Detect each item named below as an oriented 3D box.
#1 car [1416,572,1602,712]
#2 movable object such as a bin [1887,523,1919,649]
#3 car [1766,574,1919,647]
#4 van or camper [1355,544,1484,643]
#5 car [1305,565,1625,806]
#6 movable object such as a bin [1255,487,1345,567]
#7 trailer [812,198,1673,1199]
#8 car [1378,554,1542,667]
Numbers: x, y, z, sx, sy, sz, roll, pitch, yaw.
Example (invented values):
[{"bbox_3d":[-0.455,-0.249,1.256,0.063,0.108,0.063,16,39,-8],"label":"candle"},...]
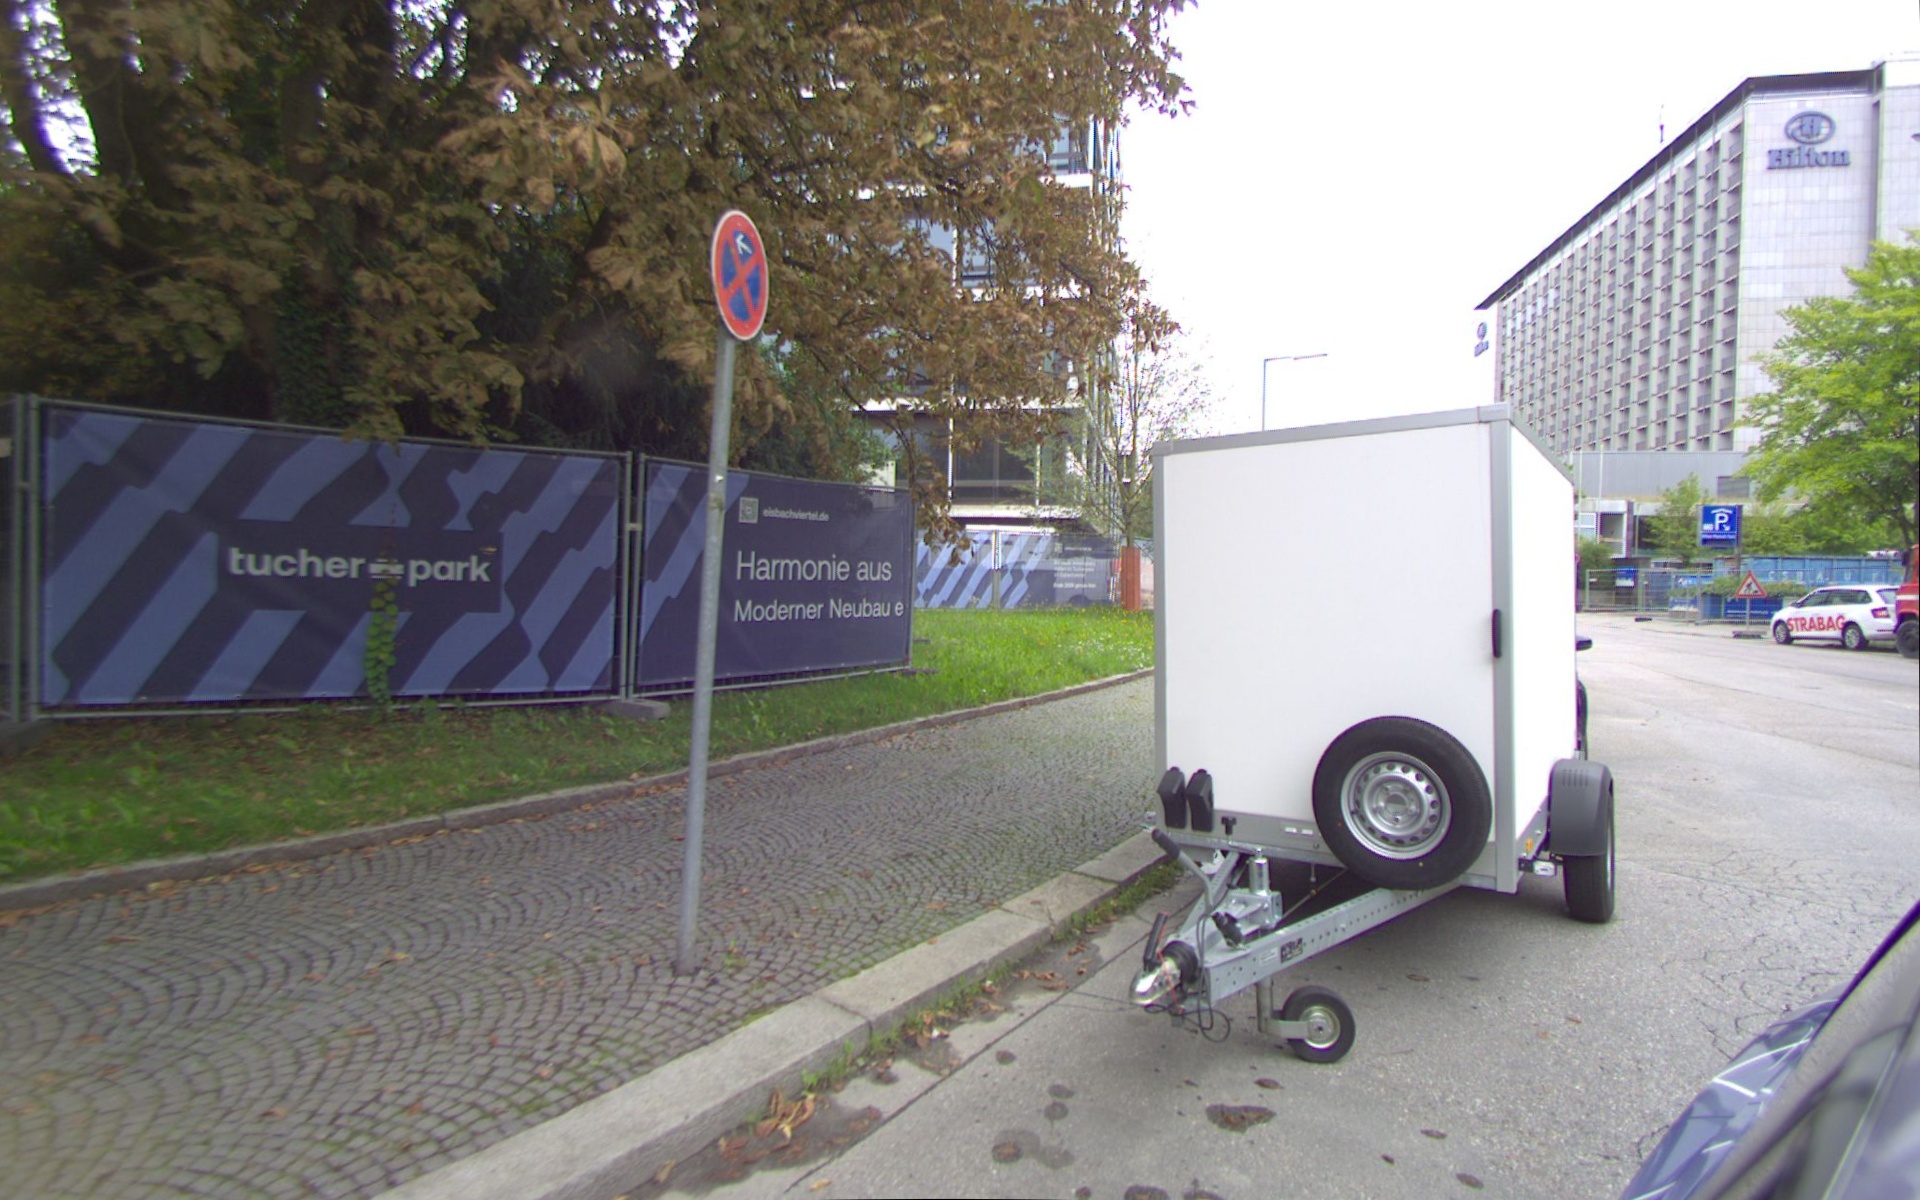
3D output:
[{"bbox_3d":[7.046,0.404,13.380,1.753,1.504,4.188,2,2,23],"label":"car"},{"bbox_3d":[19.367,-0.199,17.621,2.081,2.489,6.158,1,2,15],"label":"movable object such as a bin"},{"bbox_3d":[21.321,0.185,23.823,1.752,1.569,4.247,1,2,9],"label":"car"},{"bbox_3d":[10.681,-0.239,23.945,1.972,2.038,5.350,1,2,16],"label":"van or camper"},{"bbox_3d":[4.292,0.488,8.665,1.861,1.455,4.287,3,2,28],"label":"car"},{"bbox_3d":[17.407,-3.623,52.423,3.200,3.762,8.981,1,2,11],"label":"movable object such as a bin"},{"bbox_3d":[1.742,0.212,4.297,1.806,2.038,4.767,2,2,38],"label":"trailer"},{"bbox_3d":[8.863,0.080,18.343,1.973,1.749,4.425,1,2,18],"label":"car"}]
